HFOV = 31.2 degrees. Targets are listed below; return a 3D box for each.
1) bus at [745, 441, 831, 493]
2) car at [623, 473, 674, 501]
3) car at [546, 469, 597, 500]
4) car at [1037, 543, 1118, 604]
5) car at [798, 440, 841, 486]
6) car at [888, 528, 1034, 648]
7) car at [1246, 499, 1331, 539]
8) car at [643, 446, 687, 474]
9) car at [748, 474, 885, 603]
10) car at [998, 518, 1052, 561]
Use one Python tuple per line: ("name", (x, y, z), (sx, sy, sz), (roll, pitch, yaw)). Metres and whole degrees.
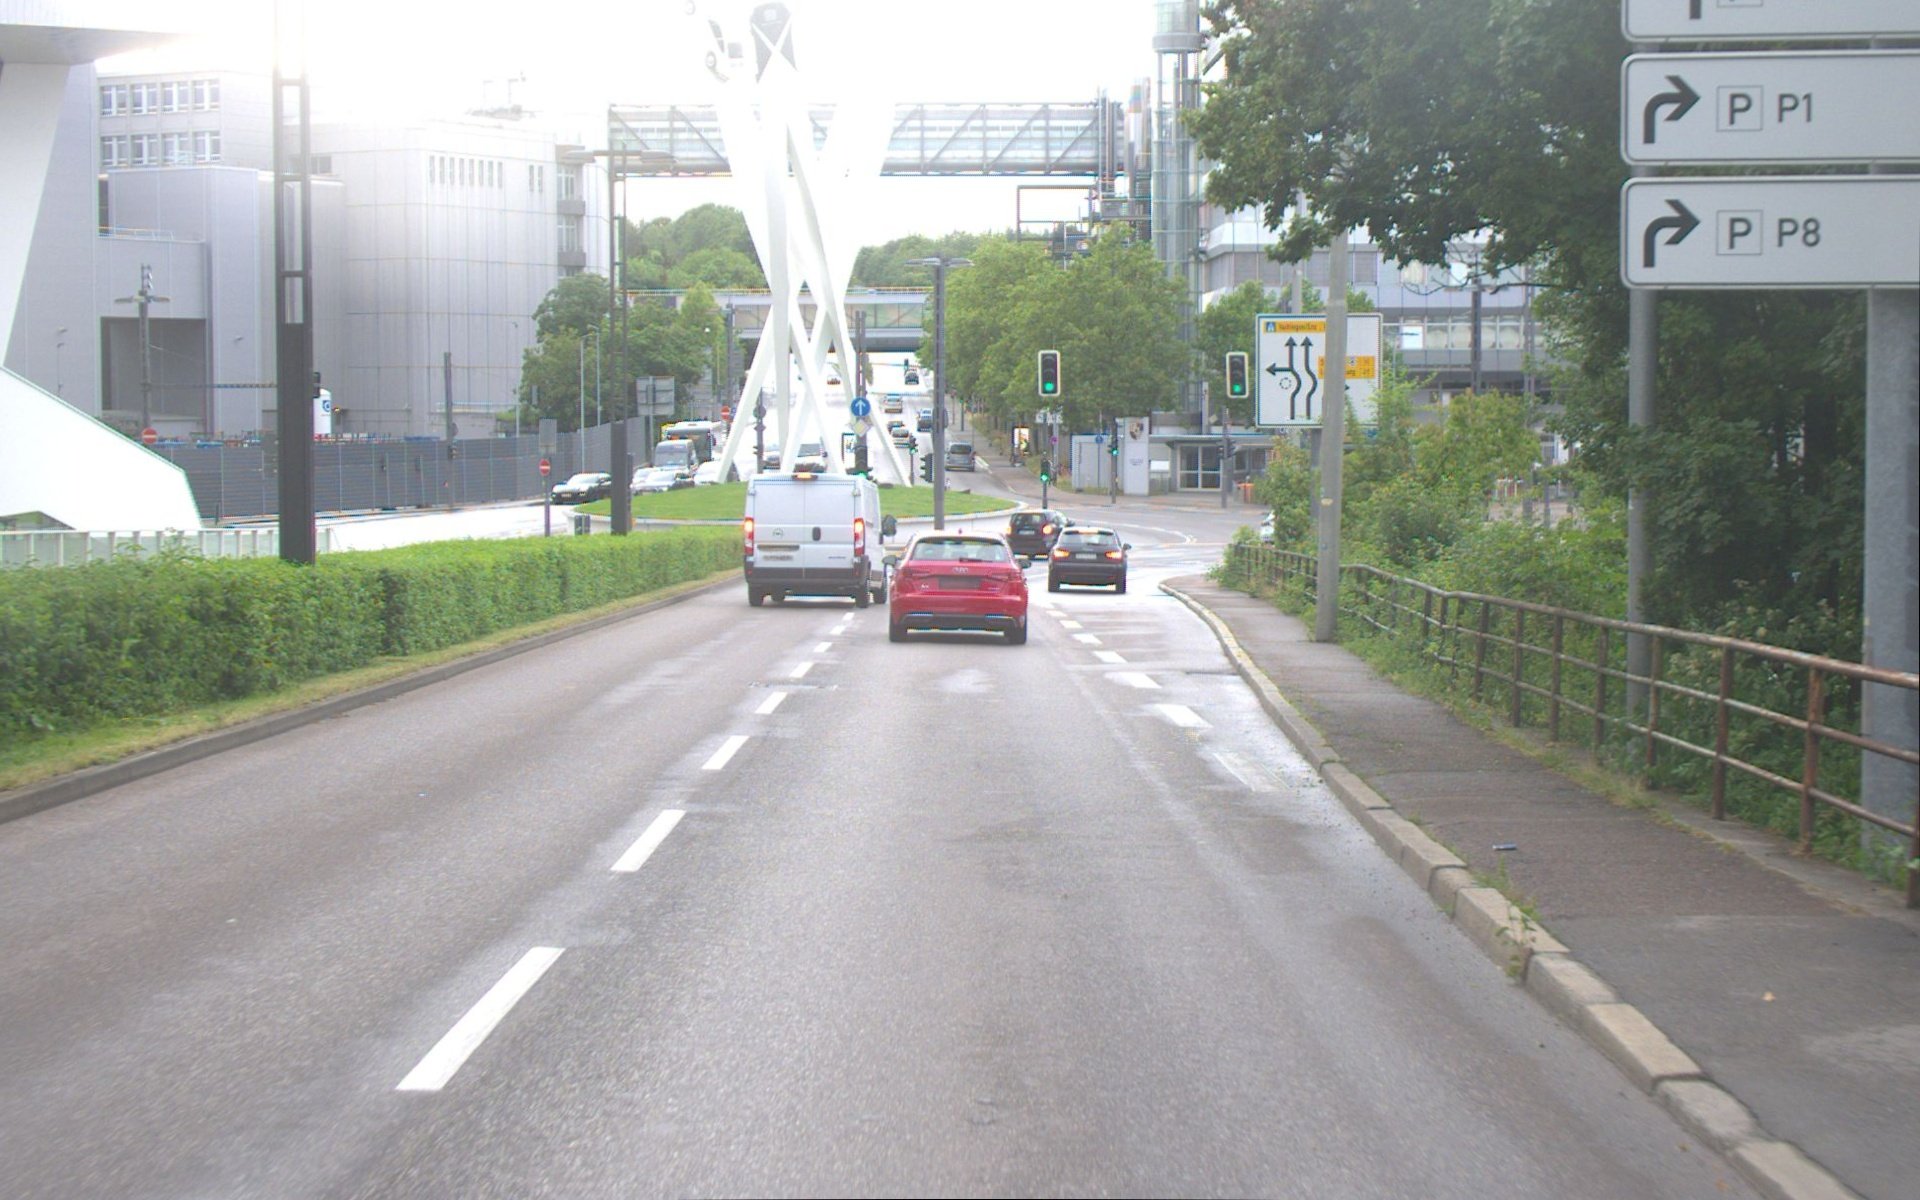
("bus", (-11.016, -8.506, 221.181), (2.670, 3.190, 12.665), (1, 2, 10))
("car", (-14.868, -5.392, 164.321), (1.845, 1.333, 4.000), (1, 2, 3))
("car", (-18.548, -5.517, 164.334), (1.833, 1.467, 4.514), (0, 2, 2))
("car", (2.532, -0.590, 74.925), (1.610, 1.286, 3.567), (1, 1, 0))
("car", (-7.598, -7.423, 186.800), (1.993, 2.438, 5.427), (0, 2, 1))
("car", (0.001, -0.179, 44.090), (1.772, 1.459, 3.733), (1, 1, 0))
("car", (11.155, -2.729, 116.529), (1.670, 1.296, 3.881), (1, 1, 25))
("car", (-15.804, -7.480, 184.264), (1.833, 1.467, 4.514), (0, 2, 2))
("car", (-2.416, -1.046, 59.074), (2.232, 2.100, 4.955), (1, 1, -1))
("car", (1.969, -1.842, 104.840), (1.557, 1.284, 3.414), (1, 1, 0))
